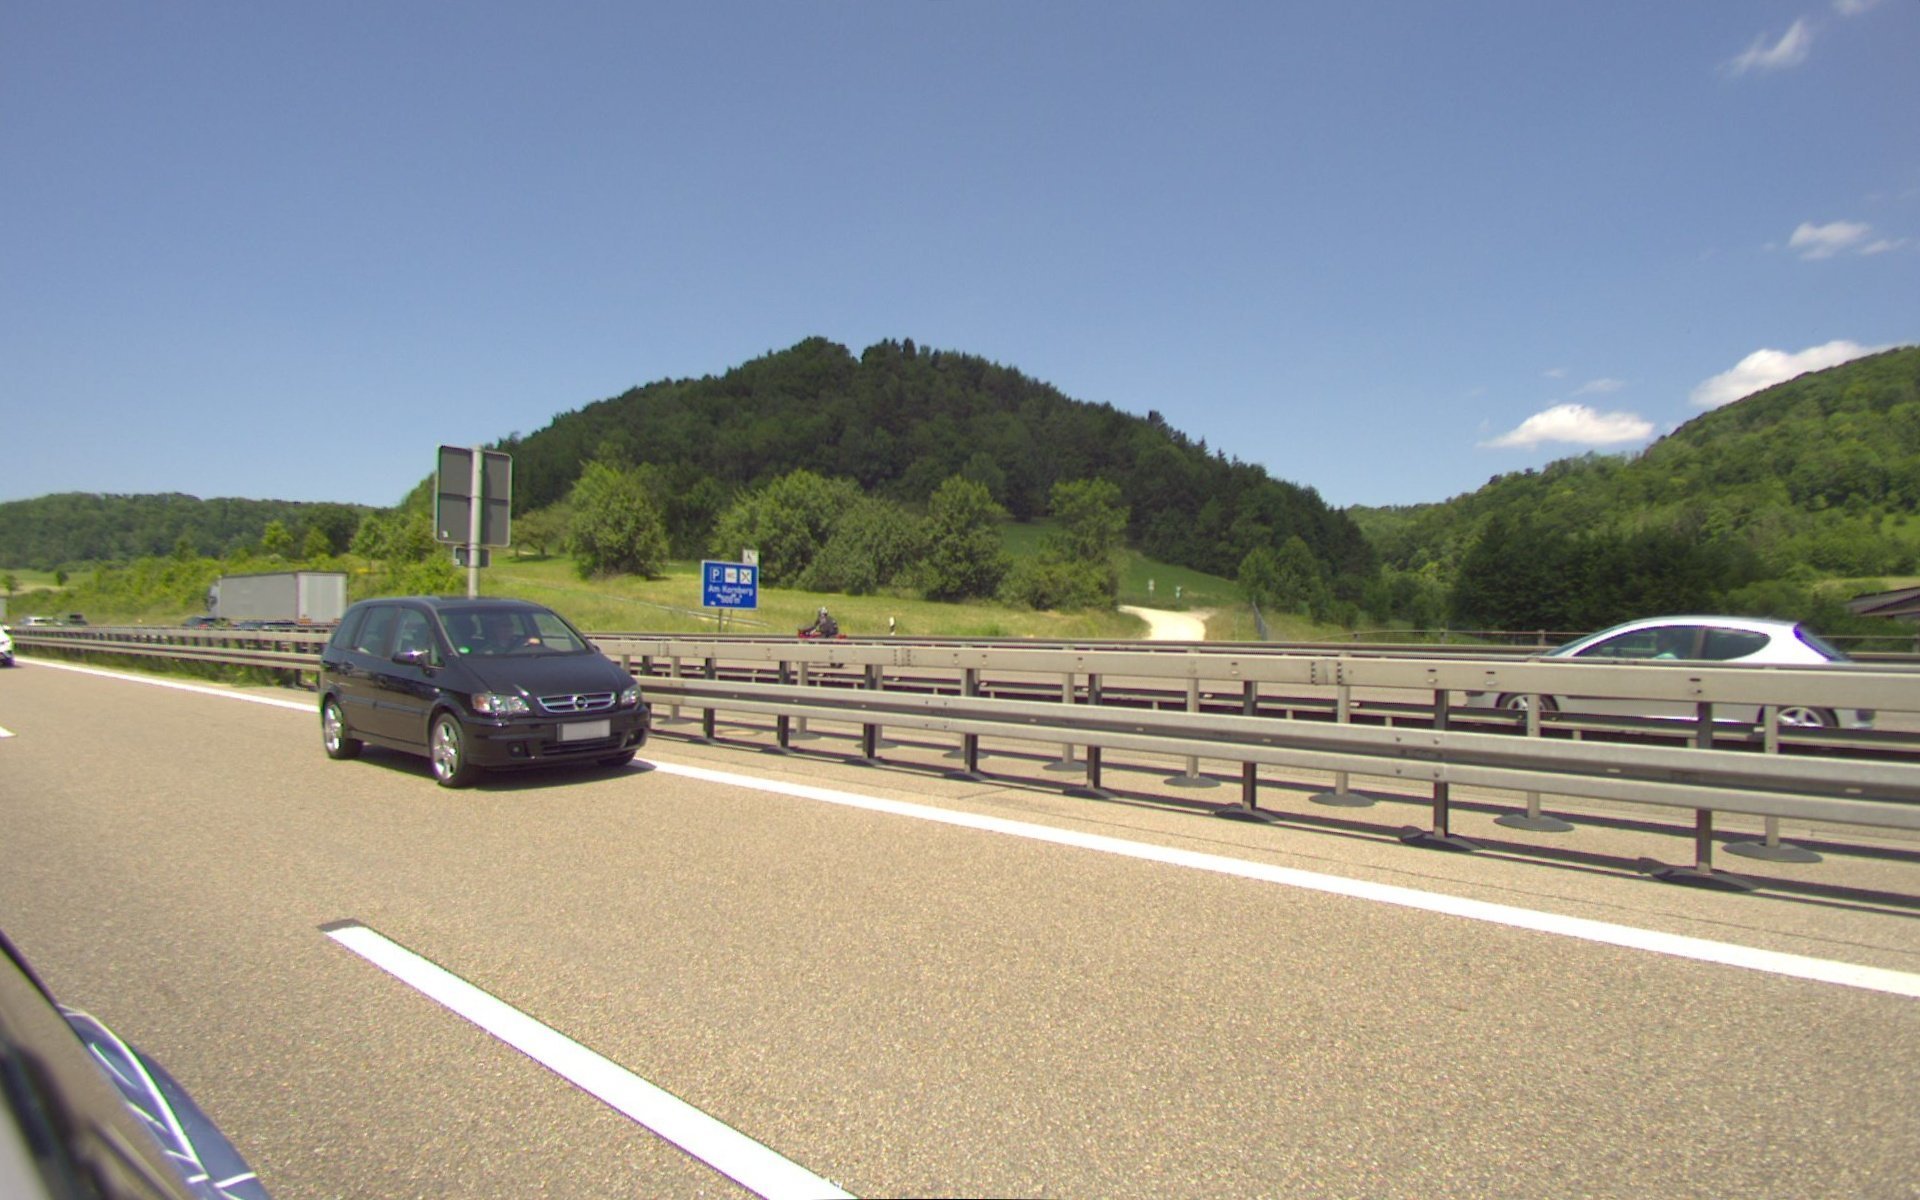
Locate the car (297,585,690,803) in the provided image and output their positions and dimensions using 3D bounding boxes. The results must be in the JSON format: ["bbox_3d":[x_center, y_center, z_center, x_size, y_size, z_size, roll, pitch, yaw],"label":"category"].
[{"bbox_3d":[-4.654,0.751,9.781,4.443,1.647,1.782,-1,-1,41],"label":"car"}]

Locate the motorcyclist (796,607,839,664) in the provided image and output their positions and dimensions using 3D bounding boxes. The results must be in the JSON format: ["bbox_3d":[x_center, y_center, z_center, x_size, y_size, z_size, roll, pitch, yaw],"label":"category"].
[{"bbox_3d":[-3.924,0.964,27.833,0.838,1.512,0.835,-1,-1,40],"label":"motorcyclist"}]

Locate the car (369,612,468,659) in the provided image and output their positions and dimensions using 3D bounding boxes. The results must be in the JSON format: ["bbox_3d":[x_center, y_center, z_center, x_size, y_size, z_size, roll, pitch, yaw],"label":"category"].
[{"bbox_3d":[-20.144,1.274,37.569,4.353,1.630,1.850,-1,-1,41],"label":"car"}]

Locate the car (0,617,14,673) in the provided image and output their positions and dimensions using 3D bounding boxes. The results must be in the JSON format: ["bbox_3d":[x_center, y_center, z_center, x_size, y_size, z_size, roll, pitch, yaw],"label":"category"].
[{"bbox_3d":[-29.749,1.324,30.120,3.999,1.634,1.972,-1,-1,42],"label":"car"}]

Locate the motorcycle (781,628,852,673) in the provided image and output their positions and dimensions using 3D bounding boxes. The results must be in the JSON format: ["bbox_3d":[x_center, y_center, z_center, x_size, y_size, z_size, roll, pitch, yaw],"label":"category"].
[{"bbox_3d":[-3.959,1.372,27.867,2.128,1.158,0.710,-1,-1,40],"label":"motorcycle"}]

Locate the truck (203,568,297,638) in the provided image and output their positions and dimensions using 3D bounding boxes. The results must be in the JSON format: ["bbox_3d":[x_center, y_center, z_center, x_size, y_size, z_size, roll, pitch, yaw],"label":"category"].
[{"bbox_3d":[-44.737,0.188,63.702,6.951,4.179,3.244,-1,-1,41],"label":"truck"}]

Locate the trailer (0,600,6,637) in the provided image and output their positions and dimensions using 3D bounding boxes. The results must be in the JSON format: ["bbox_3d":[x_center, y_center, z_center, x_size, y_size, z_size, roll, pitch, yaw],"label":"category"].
[{"bbox_3d":[-115.675,2.115,119.572,13.605,4.222,2.826,0,0,40],"label":"trailer"}]

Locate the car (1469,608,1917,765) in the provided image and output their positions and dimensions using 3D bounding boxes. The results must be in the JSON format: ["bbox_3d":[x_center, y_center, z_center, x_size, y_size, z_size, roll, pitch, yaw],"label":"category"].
[{"bbox_3d":[8.433,0.869,11.916,3.998,1.508,1.973,-1,0,41],"label":"car"}]

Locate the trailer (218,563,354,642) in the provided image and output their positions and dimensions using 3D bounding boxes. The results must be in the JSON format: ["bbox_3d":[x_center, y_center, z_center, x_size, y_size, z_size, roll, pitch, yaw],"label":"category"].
[{"bbox_3d":[-39.705,0.152,59.303,12.991,4.236,3.214,0,0,41],"label":"trailer"}]

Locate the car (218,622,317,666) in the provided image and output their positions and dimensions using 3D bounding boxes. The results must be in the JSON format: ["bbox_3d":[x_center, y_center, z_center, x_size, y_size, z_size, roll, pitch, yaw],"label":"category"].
[{"bbox_3d":[-24.857,1.523,36.267,4.624,1.479,1.732,-1,-1,40],"label":"car"}]
